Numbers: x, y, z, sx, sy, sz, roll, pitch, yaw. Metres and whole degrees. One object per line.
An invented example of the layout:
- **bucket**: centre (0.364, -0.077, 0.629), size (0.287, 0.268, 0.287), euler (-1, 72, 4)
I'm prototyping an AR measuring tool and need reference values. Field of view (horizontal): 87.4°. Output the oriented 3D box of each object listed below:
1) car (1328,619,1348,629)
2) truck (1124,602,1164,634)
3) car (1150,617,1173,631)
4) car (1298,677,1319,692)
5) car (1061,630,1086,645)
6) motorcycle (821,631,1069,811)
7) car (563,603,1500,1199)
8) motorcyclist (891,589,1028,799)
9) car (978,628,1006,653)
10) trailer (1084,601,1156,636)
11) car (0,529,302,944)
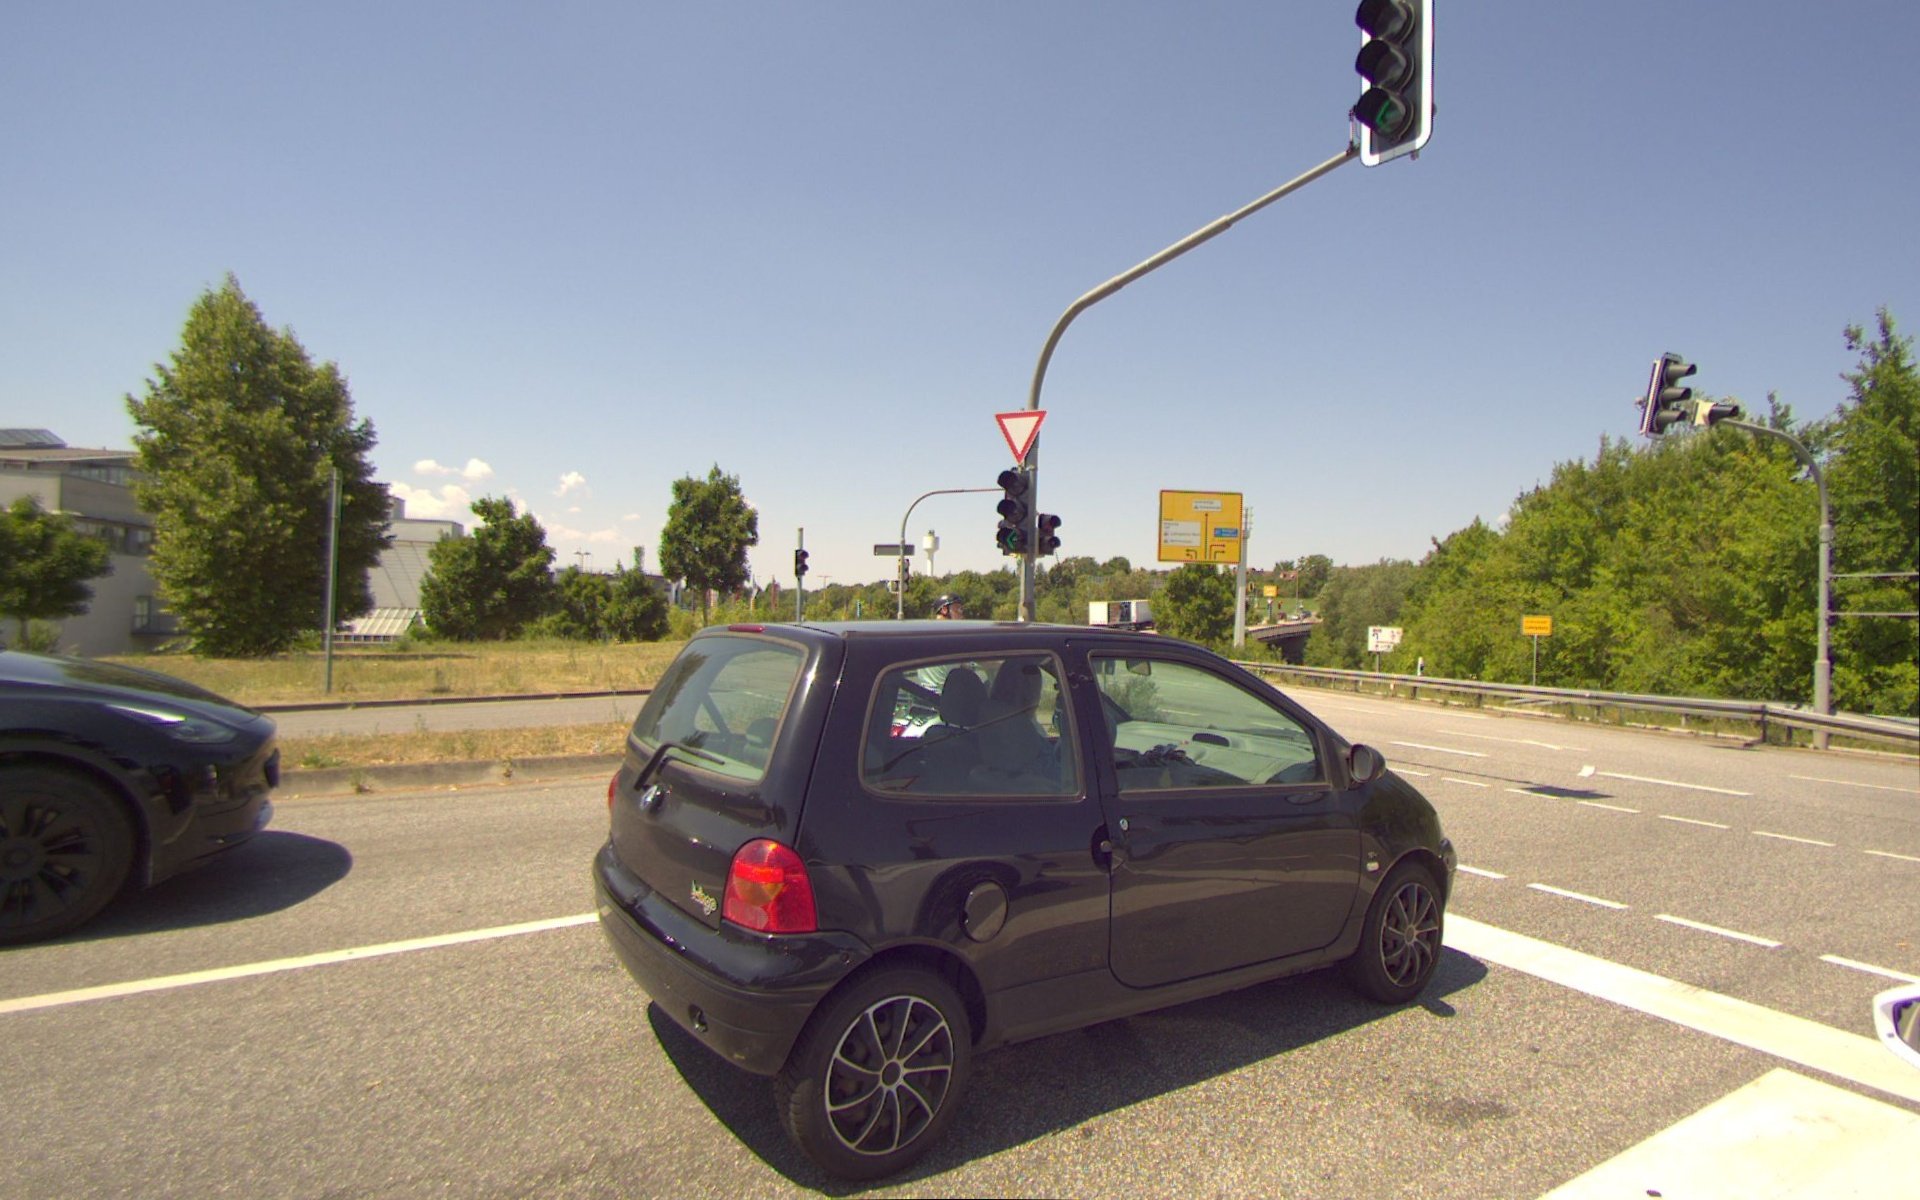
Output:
- **car**: centre (70.015, 4.473, 185.834), size (3.974, 1.653, 1.973), euler (2, -1, -45)
- **truck**: centre (25.577, 2.463, 139.342), size (3.188, 4.305, 6.218), euler (1, 1, 34)
- **car**: centre (27.300, 3.268, 136.215), size (1.852, 1.755, 3.992), euler (1, 0, 30)
- **car**: centre (40.680, 9.848, 117.352), size (1.775, 1.452, 4.417), euler (4, -2, 13)
- **car**: centre (12.802, 4.246, 113.286), size (1.776, 1.452, 3.929), euler (4, -2, 22)
- **motorcycle**: centre (-0.080, 0.908, 7.913), size (1.921, 1.255, 0.572), euler (3, -1, -35)
- **car**: centre (0.393, 0.773, 3.827), size (3.267, 1.426, 1.609), euler (2, -1, -34)
- **motorcyclist**: centre (-0.006, 0.714, 7.976), size (0.838, 1.560, 0.607), euler (3, 0, -34)
- **car**: centre (2.053, 2.605, 64.438), size (1.614, 1.413, 3.992), euler (5, -2, 1)
- **trailer**: centre (21.372, 2.382, 132.984), size (3.187, 4.305, 15.361), euler (1, 0, 34)
- **car**: centre (-5.297, 0.489, 3.937), size (4.462, 1.622, 1.862), euler (2, 0, -36)
